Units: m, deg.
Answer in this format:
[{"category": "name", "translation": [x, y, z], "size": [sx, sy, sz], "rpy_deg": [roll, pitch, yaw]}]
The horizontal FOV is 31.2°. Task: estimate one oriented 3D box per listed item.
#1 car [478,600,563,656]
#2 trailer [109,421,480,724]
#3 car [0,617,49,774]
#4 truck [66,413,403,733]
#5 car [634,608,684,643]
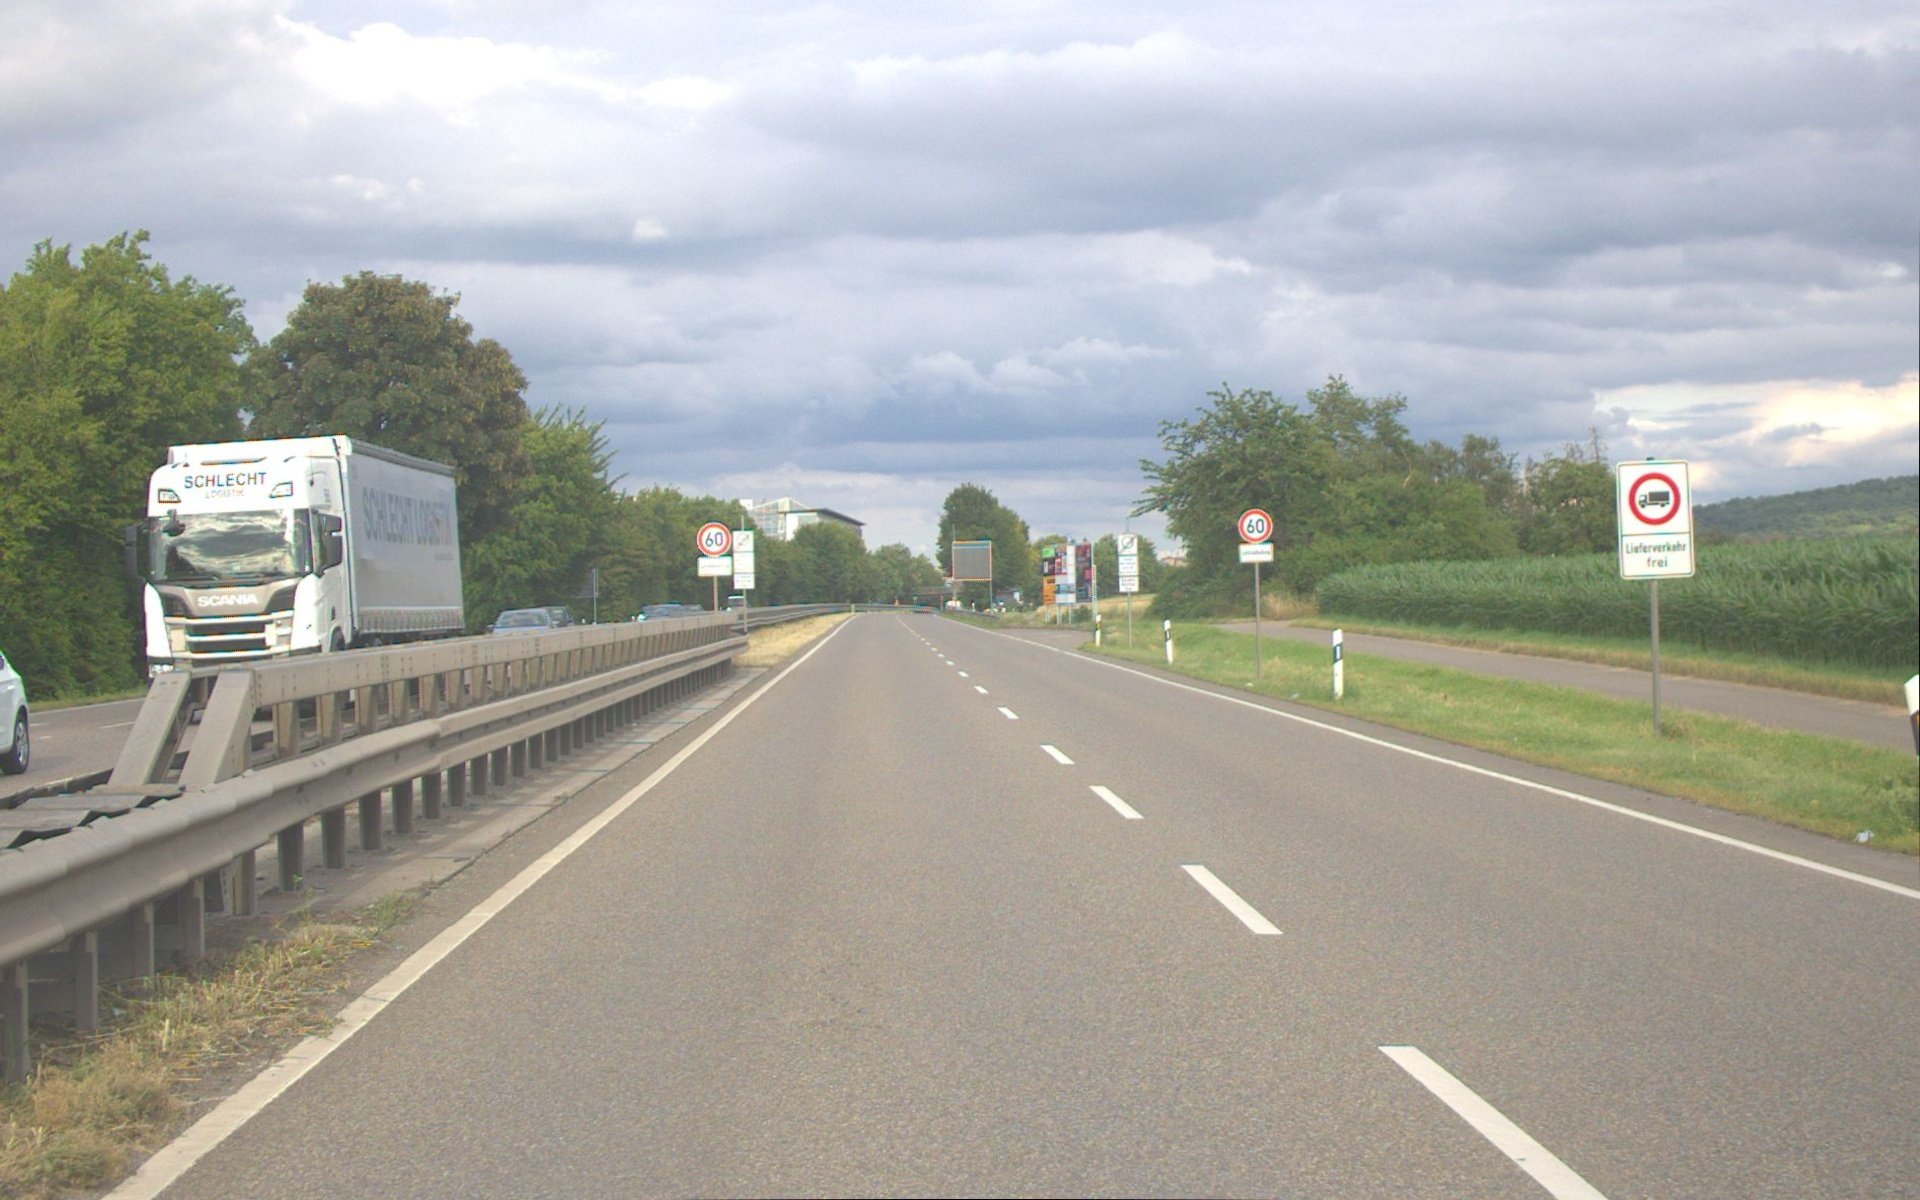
[{"category": "car", "translation": [-11.657, 0.729, 91.433], "size": [1.789, 1.381, 4.160], "rpy_deg": [-2, 0, -2]}, {"category": "trailer", "translation": [-10.464, -0.402, 56.031], "size": [3.465, 4.136, 13.917], "rpy_deg": [-3, 0, -1]}, {"category": "car", "translation": [-9.840, 0.928, 31.780], "size": [1.789, 1.439, 4.160], "rpy_deg": [-2, 0, -2]}, {"category": "truck", "translation": [-10.270, -0.376, 49.376], "size": [3.474, 4.136, 6.050], "rpy_deg": [-3, 0, -1]}, {"category": "car", "translation": [-13.431, 1.133, 153.565], "size": [1.866, 1.472, 4.826], "rpy_deg": [-2, 0, -2]}]
